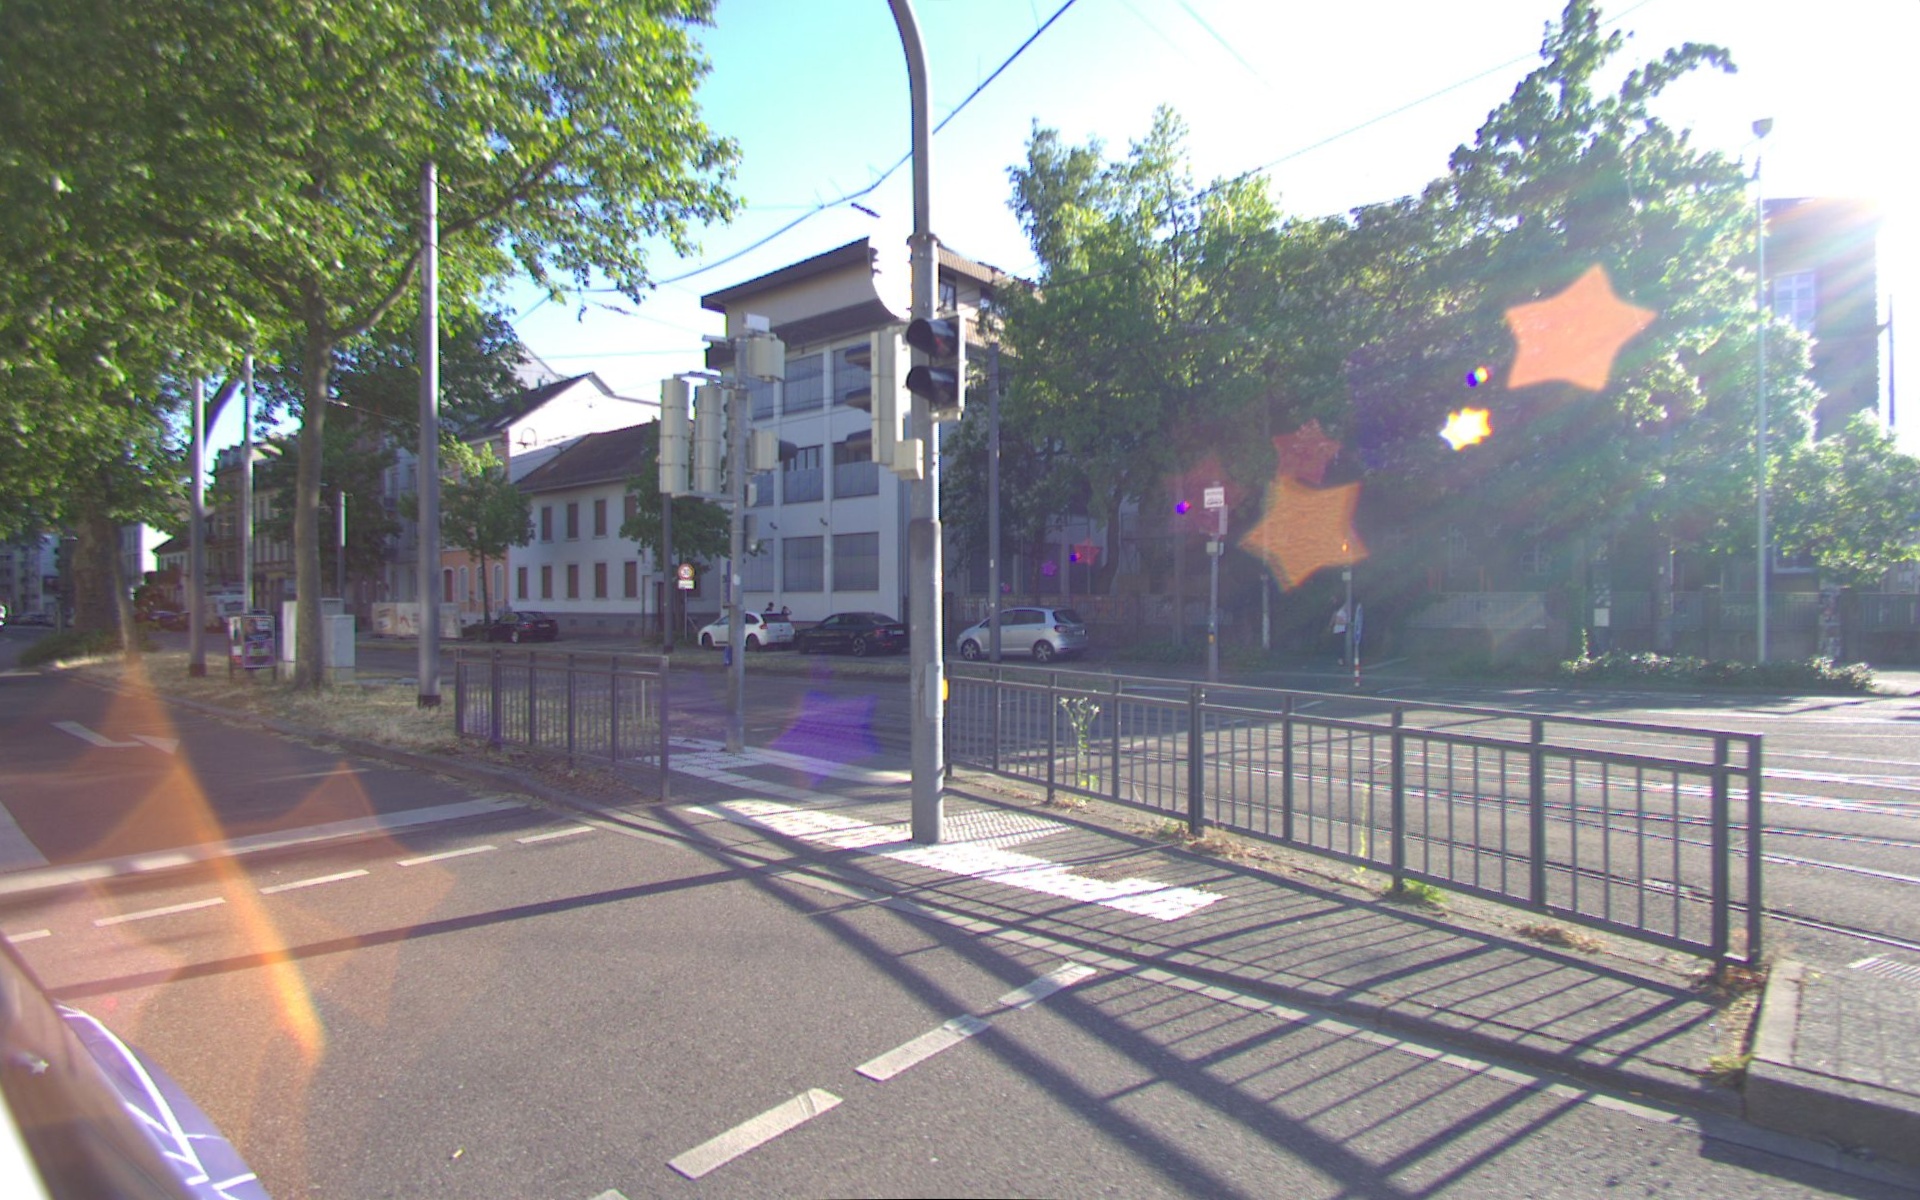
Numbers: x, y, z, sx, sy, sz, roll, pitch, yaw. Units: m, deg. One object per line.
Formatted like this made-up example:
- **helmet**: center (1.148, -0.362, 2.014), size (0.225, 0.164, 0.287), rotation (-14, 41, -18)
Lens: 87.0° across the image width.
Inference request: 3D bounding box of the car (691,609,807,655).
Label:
- **car**: center (-7.781, 1.136, 37.258), size (3.992, 1.501, 2.062), rotation (-1, 2, 38)

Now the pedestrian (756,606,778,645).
- **pedestrian**: center (-7.688, 0.993, 40.324), size (0.710, 1.540, 0.531), rotation (-1, -1, 34)

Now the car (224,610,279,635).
- **car**: center (-52.348, 1.634, 74.711), size (4.527, 1.686, 2.062), rotation (-1, 2, 38)

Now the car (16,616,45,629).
- **car**: center (-119.090, 2.836, 129.682), size (4.115, 1.551, 2.062), rotation (-1, 2, 38)

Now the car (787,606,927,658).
- **car**: center (-3.463, 1.016, 33.661), size (4.451, 1.513, 2.062), rotation (-1, 2, 38)

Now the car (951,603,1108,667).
- **car**: center (1.982, 0.975, 29.360), size (4.092, 1.631, 2.062), rotation (-1, 2, 38)

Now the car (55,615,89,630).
- **car**: center (-99.407, 2.527, 113.271), size (4.250, 1.551, 2.062), rotation (-1, 2, 38)

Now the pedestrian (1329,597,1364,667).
- **pedestrian**: center (9.490, 0.776, 24.866), size (0.631, 1.677, 0.562), rotation (-1, 2, 38)

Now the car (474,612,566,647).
- **car**: center (-20.887, 1.355, 47.988), size (4.573, 1.481, 2.062), rotation (-1, 2, 38)

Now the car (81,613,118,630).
- **car**: center (-87.463, 2.199, 102.818), size (4.033, 1.551, 2.062), rotation (-1, 2, 38)

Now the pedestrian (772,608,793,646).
- **pedestrian**: center (-7.194, 1.094, 40.995), size (0.711, 1.540, 0.530), rotation (-1, -1, 40)

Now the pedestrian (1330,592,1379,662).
- **pedestrian**: center (10.196, 0.700, 26.169), size (1.018, 1.765, 0.727), rotation (-1, -1, 39)

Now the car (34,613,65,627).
- **car**: center (-107.579, 2.387, 119.551), size (4.004, 1.551, 2.062), rotation (-1, 2, 38)

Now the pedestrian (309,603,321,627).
- **pedestrian**: center (-48.091, 1.127, 75.449), size (0.704, 1.823, 0.554), rotation (-1, -1, 38)

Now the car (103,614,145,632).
- **car**: center (-80.417, 2.198, 97.302), size (5.098, 1.551, 2.062), rotation (-1, 2, 38)

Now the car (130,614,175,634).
- **car**: center (-70.683, 2.078, 88.531), size (4.510, 1.551, 2.062), rotation (-1, 2, 38)
